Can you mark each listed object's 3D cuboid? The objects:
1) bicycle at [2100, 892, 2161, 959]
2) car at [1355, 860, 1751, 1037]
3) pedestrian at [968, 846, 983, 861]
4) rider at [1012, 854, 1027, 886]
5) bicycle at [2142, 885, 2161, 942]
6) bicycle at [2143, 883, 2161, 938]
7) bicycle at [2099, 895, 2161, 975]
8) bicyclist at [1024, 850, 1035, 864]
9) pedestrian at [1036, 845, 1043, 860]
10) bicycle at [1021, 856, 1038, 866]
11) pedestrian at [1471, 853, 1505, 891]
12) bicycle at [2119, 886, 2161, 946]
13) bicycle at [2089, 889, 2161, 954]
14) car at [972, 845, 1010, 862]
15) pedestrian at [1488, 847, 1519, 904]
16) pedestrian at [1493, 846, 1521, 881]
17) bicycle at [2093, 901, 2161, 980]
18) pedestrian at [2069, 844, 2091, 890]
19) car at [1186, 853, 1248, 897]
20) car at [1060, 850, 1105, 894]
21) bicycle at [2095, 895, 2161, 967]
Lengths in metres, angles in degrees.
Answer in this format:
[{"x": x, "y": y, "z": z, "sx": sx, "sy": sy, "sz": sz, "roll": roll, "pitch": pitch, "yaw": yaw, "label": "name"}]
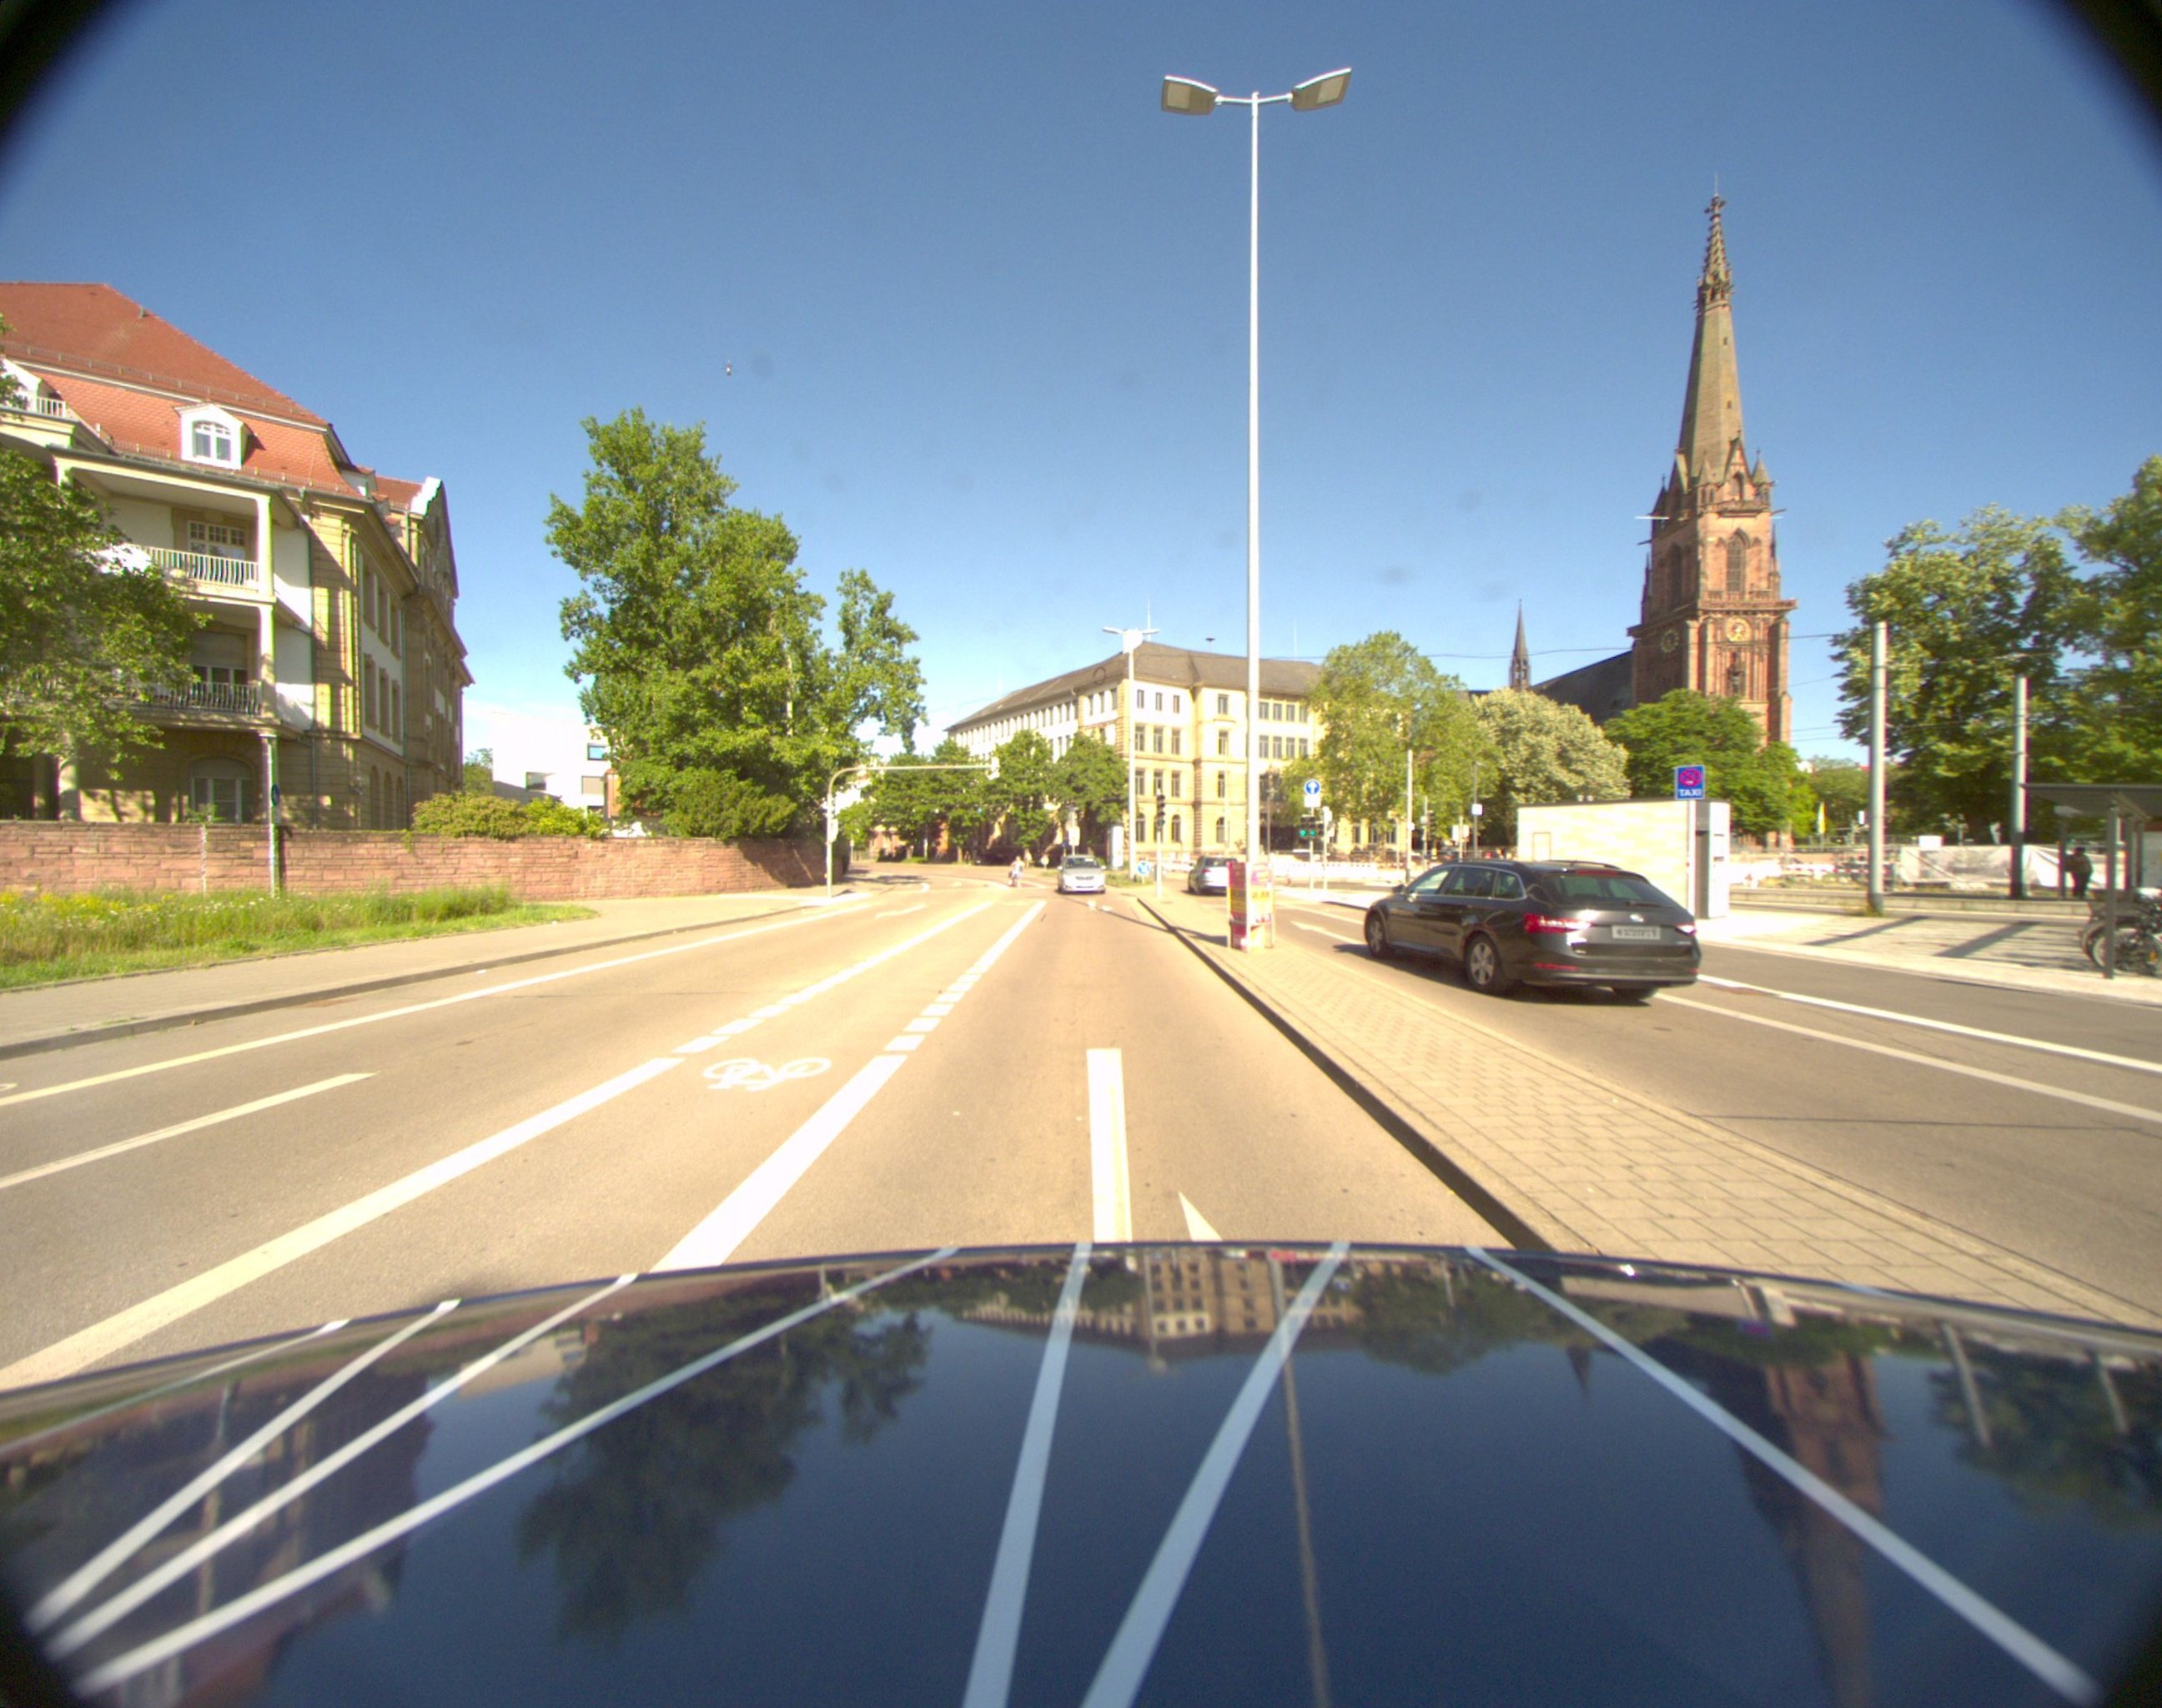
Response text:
[{"x": 17.257, "y": 1.145, "z": 11.655, "sx": 0.458, "sy": 1.003, "sz": 1.899, "roll": -1, "pitch": 1, "yaw": -33, "label": "bicycle"}, {"x": 5.052, "y": 0.868, "z": 9.093, "sx": 1.793, "sy": 1.490, "sz": 4.574, "roll": 1, "pitch": 1, "yaw": -1, "label": "car"}, {"x": -12.614, "y": -0.096, "z": 90.865, "sx": 0.934, "sy": 1.812, "sz": 1.394, "roll": 1, "pitch": 1, "yaw": 45, "label": "pedestrian"}, {"x": -3.215, "y": 0.820, "z": 39.657, "sx": 0.658, "sy": 1.610, "sz": 0.989, "roll": -1, "pitch": 1, "yaw": 1, "label": "rider"}, {"x": 19.891, "y": 1.072, "z": 13.200, "sx": 0.458, "sy": 1.003, "sz": 1.667, "roll": -1, "pitch": 1, "yaw": -33, "label": "bicycle"}, {"x": 20.485, "y": 1.060, "z": 13.610, "sx": 0.458, "sy": 1.003, "sz": 1.667, "roll": -1, "pitch": 1, "yaw": -33, "label": "bicycle"}, {"x": 15.197, "y": 1.133, "z": 10.280, "sx": 0.458, "sy": 1.055, "sz": 1.667, "roll": -1, "pitch": 1, "yaw": -33, "label": "bicycle"}, {"x": -5.156, "y": 0.273, "z": 75.791, "sx": 0.893, "sy": 1.377, "sz": 0.735, "roll": 1, "pitch": 1, "yaw": 44, "label": "bicyclist"}, {"x": -4.702, "y": -0.170, "z": 86.652, "sx": 0.677, "sy": 1.714, "sz": 0.588, "roll": -1, "pitch": 1, "yaw": -22, "label": "pedestrian"}, {"x": -5.148, "y": 0.715, "z": 75.799, "sx": 1.830, "sy": 0.985, "sz": 0.735, "roll": 0, "pitch": 1, "yaw": 44, "label": "bicycle"}, {"x": 18.977, "y": 0.829, "z": 35.466, "sx": 0.977, "sy": 1.769, "sz": 1.131, "roll": 0, "pitch": 1, "yaw": -1, "label": "pedestrian"}, {"x": 19.124, "y": 1.096, "z": 12.948, "sx": 0.458, "sy": 1.003, "sz": 1.667, "roll": -1, "pitch": 1, "yaw": -33, "label": "bicycle"}, {"x": 17.910, "y": 1.124, "z": 12.428, "sx": 0.458, "sy": 1.003, "sz": 1.667, "roll": -1, "pitch": 1, "yaw": -33, "label": "bicycle"}, {"x": -10.728, "y": -0.038, "z": 90.762, "sx": 1.994, "sy": 2.002, "sz": 4.721, "roll": 0, "pitch": 1, "yaw": 32, "label": "car"}, {"x": 13.695, "y": 0.683, "z": 24.625, "sx": 0.693, "sy": 1.844, "sz": 0.679, "roll": 0, "pitch": 1, "yaw": 12, "label": "pedestrian"}, {"x": 21.911, "y": 0.485, "z": 39.086, "sx": 0.977, "sy": 1.769, "sz": 0.803, "roll": 0, "pitch": 1, "yaw": -1, "label": "pedestrian"}, {"x": 14.696, "y": 1.168, "z": 9.965, "sx": 0.458, "sy": 1.003, "sz": 1.667, "roll": -1, "pitch": 1, "yaw": -33, "label": "bicycle"}, {"x": 37.569, "y": 0.496, "z": 28.577, "sx": 0.404, "sy": 1.711, "sz": 0.419, "roll": 1, "pitch": 1, "yaw": 38, "label": "pedestrian"}, {"x": 5.265, "y": 0.778, "z": 29.928, "sx": 1.859, "sy": 1.533, "sz": 4.241, "roll": 1, "pitch": 1, "yaw": 3, "label": "car"}, {"x": 0.017, "y": 0.694, "z": 31.605, "sx": 1.706, "sy": 1.657, "sz": 3.913, "roll": -1, "pitch": 1, "yaw": -1, "label": "car"}, {"x": 16.070, "y": 1.140, "z": 10.976, "sx": 0.458, "sy": 1.003, "sz": 1.667, "roll": -1, "pitch": 1, "yaw": -33, "label": "bicycle"}]
